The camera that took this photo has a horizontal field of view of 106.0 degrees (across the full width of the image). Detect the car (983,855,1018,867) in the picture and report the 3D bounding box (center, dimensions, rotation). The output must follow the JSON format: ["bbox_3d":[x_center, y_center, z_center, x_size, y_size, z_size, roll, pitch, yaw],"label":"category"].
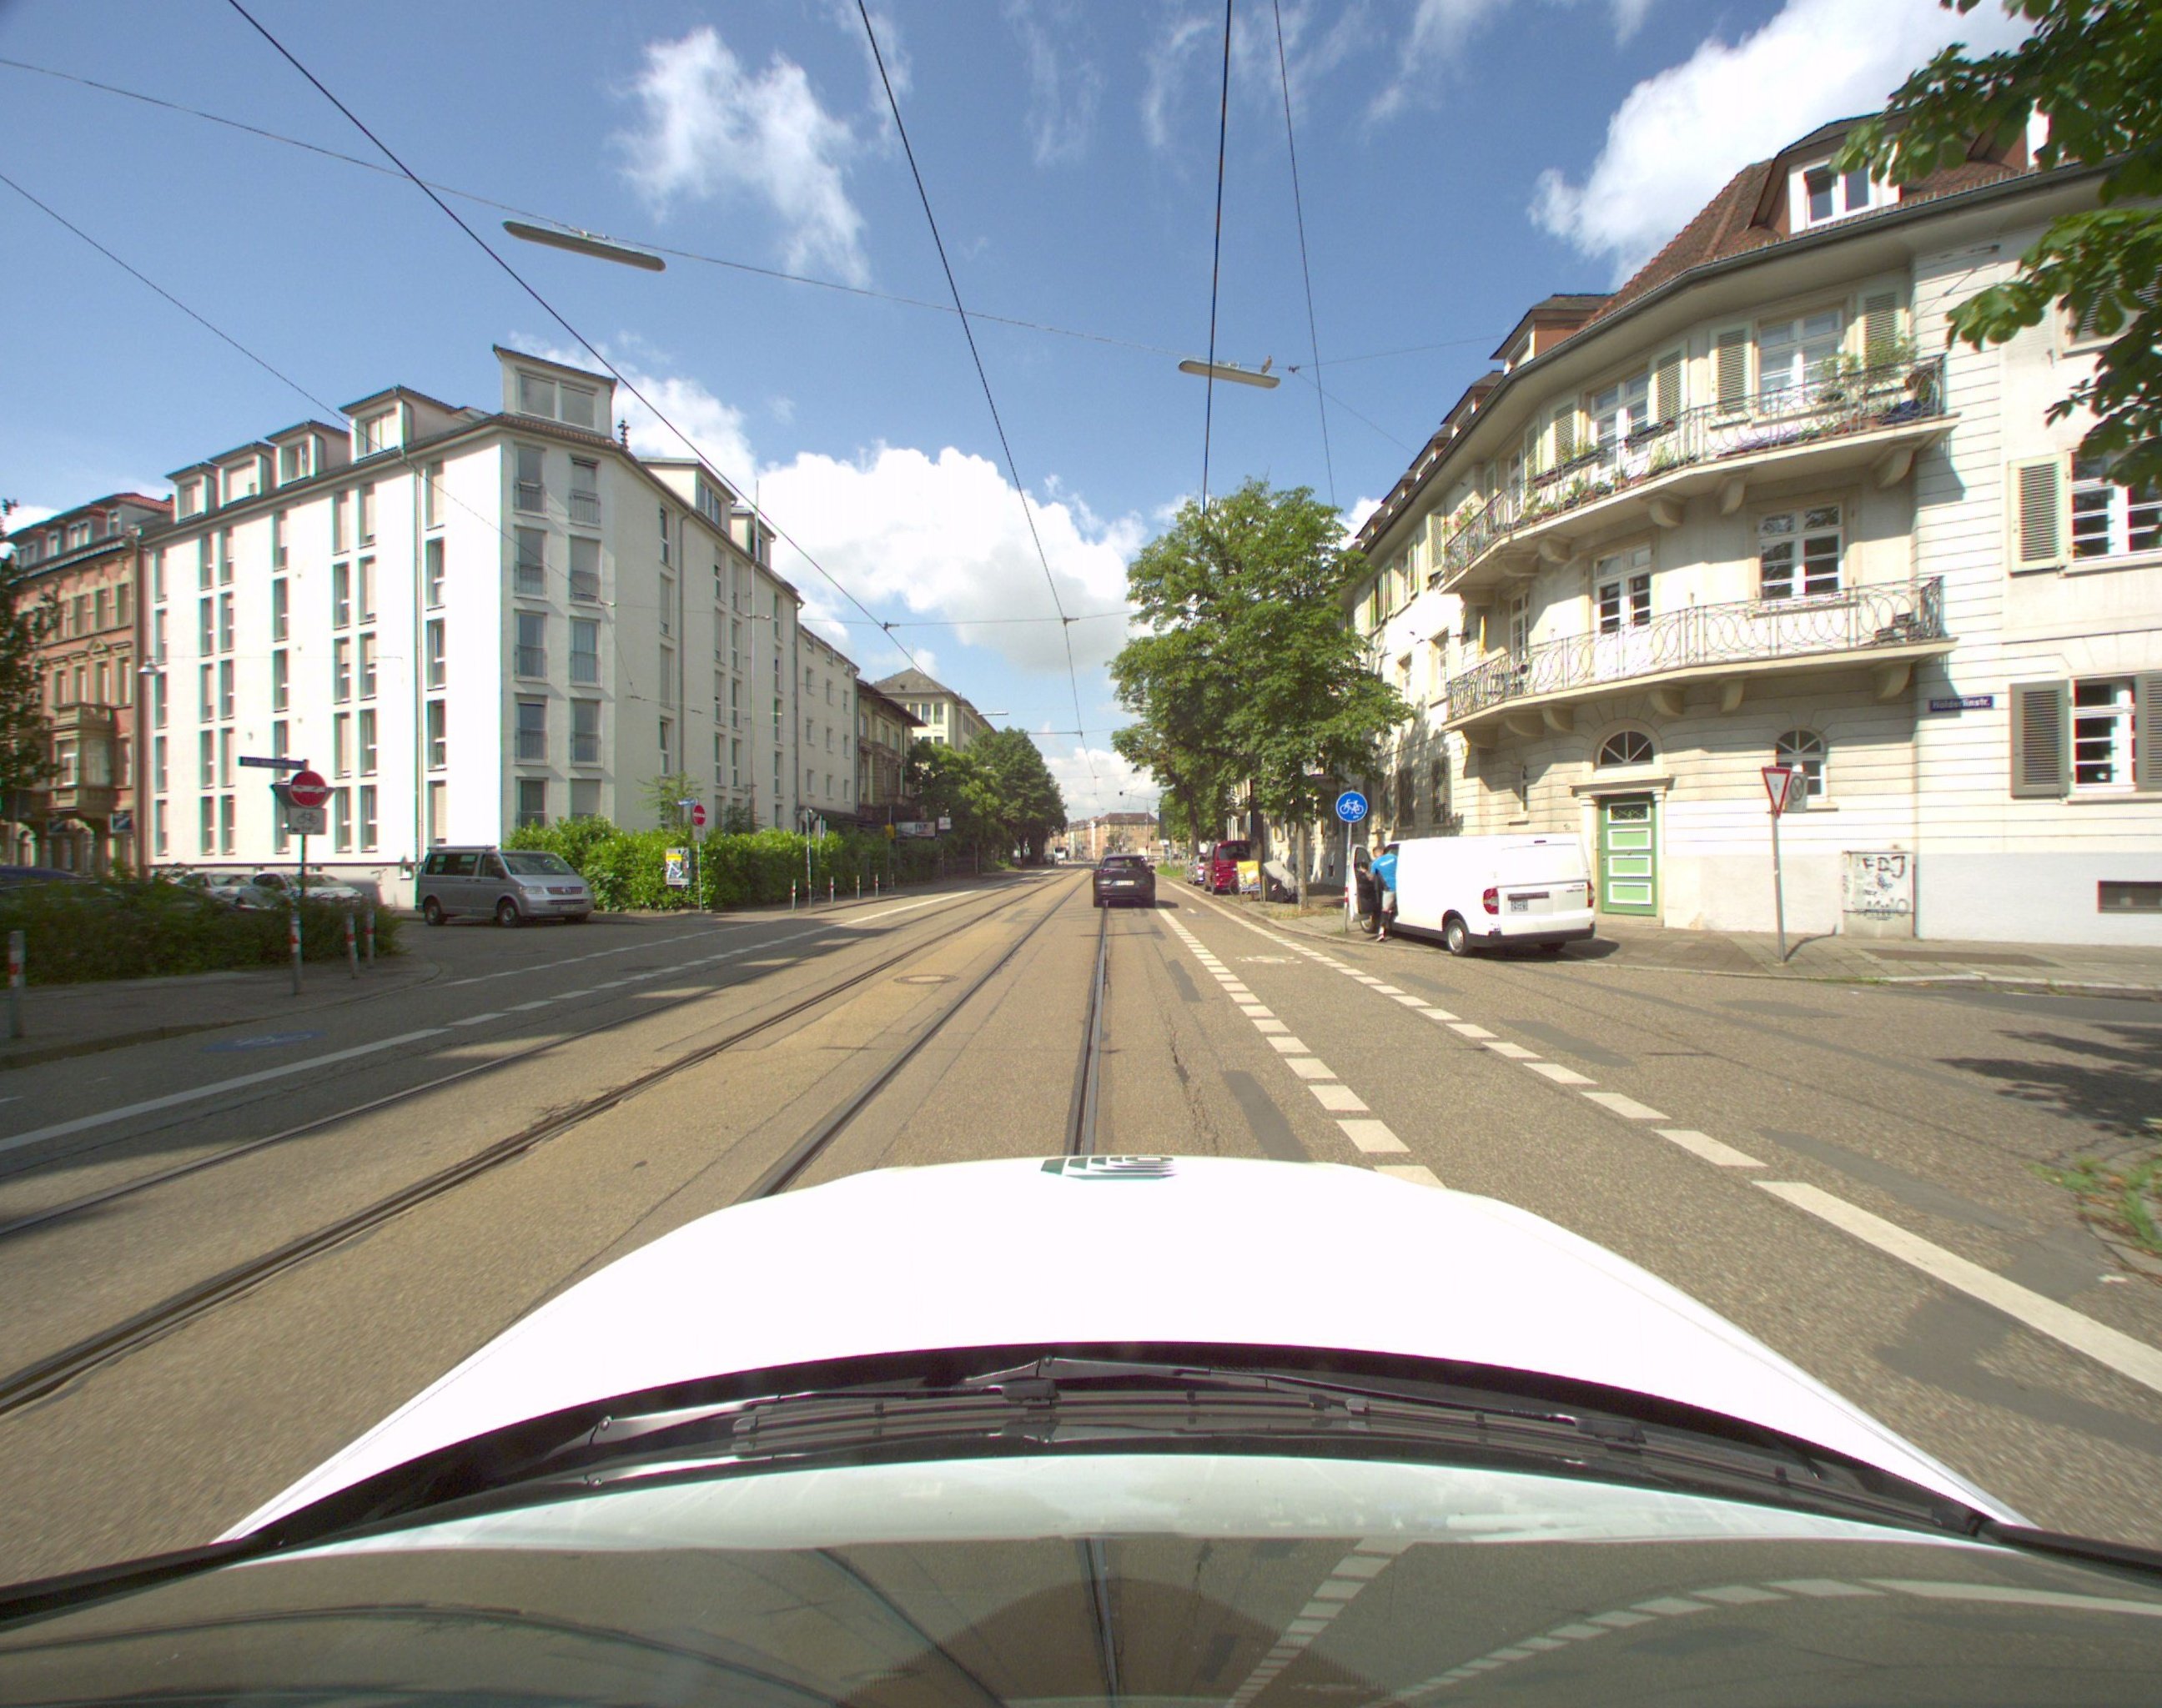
[{"bbox_3d":[-8.956,0.778,90.748,3.737,1.287,1.609,2,0,-2],"label":"car"}]

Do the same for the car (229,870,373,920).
[{"bbox_3d":[-23.828,1.218,24.885,3.923,1.413,1.800,-1,0,23],"label":"car"}]

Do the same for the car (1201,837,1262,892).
[{"bbox_3d":[5.673,0.377,31.129,1.714,1.968,4.210,0,0,3],"label":"car"}]

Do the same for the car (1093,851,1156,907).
[{"bbox_3d":[1.260,0.691,24.314,1.714,1.526,3.591,0,0,1],"label":"car"}]

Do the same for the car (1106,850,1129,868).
[{"bbox_3d":[3.208,0.437,72.250,1.986,1.529,4.001,2,0,1],"label":"car"}]

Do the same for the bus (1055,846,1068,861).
[{"bbox_3d":[-4.630,-0.161,191.277,2.683,3.421,11.001,2,0,-4],"label":"bus"}]

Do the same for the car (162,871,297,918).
[{"bbox_3d":[-27.811,1.313,26.600,3.923,1.396,1.800,-1,0,23],"label":"car"}]

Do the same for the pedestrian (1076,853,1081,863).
[{"bbox_3d":[-0.530,0.906,169.463,0.882,2.013,0.617,0,0,-2],"label":"pedestrian"}]

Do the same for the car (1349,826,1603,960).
[{"bbox_3d":[6.617,0.553,14.416,1.783,1.938,4.983,-1,0,-4],"label":"car"}]

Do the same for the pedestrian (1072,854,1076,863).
[{"bbox_3d":[-1.490,0.948,169.530,0.882,2.013,0.617,0,0,-2],"label":"pedestrian"}]

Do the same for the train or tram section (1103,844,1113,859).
[{"bbox_3d":[6.954,-0.536,211.689,2.562,3.772,13.032,0,0,2],"label":"train or tram section"}]

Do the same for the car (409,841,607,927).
[{"bbox_3d":[-14.746,0.724,20.965,4.620,2.013,2.058,-1,0,23],"label":"car"}]

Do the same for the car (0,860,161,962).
[{"bbox_3d":[-17.313,0.892,12.993,1.377,1.567,3.201,-1,0,21],"label":"car"}]

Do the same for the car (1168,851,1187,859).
[{"bbox_3d":[20.614,0.218,173.784,3.829,1.618,1.622,2,0,-29],"label":"car"}]

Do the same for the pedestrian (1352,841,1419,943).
[{"bbox_3d":[5.673,0.676,15.215,0.814,1.835,0.959,0,0,-8],"label":"pedestrian"}]

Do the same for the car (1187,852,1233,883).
[{"bbox_3d":[6.092,0.616,38.854,1.714,1.424,3.591,0,0,1],"label":"car"}]

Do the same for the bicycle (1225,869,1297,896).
[{"bbox_3d":[6.056,0.957,27.461,2.267,0.861,0.672,0,0,0],"label":"bicycle"}]

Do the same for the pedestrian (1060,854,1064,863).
[{"bbox_3d":[-3.369,0.796,145.168,0.749,1.510,0.823,0,0,-3],"label":"pedestrian"}]

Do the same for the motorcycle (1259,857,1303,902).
[{"bbox_3d":[5.971,0.740,24.424,0.791,1.271,2.423,0,0,2],"label":"motorcycle"}]

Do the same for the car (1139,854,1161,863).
[{"bbox_3d":[13.298,0.898,156.241,3.814,1.618,1.629,2,0,-16],"label":"car"}]

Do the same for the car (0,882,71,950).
[{"bbox_3d":[-19.729,1.100,13.675,1.342,1.153,3.201,-1,0,21],"label":"car"}]
